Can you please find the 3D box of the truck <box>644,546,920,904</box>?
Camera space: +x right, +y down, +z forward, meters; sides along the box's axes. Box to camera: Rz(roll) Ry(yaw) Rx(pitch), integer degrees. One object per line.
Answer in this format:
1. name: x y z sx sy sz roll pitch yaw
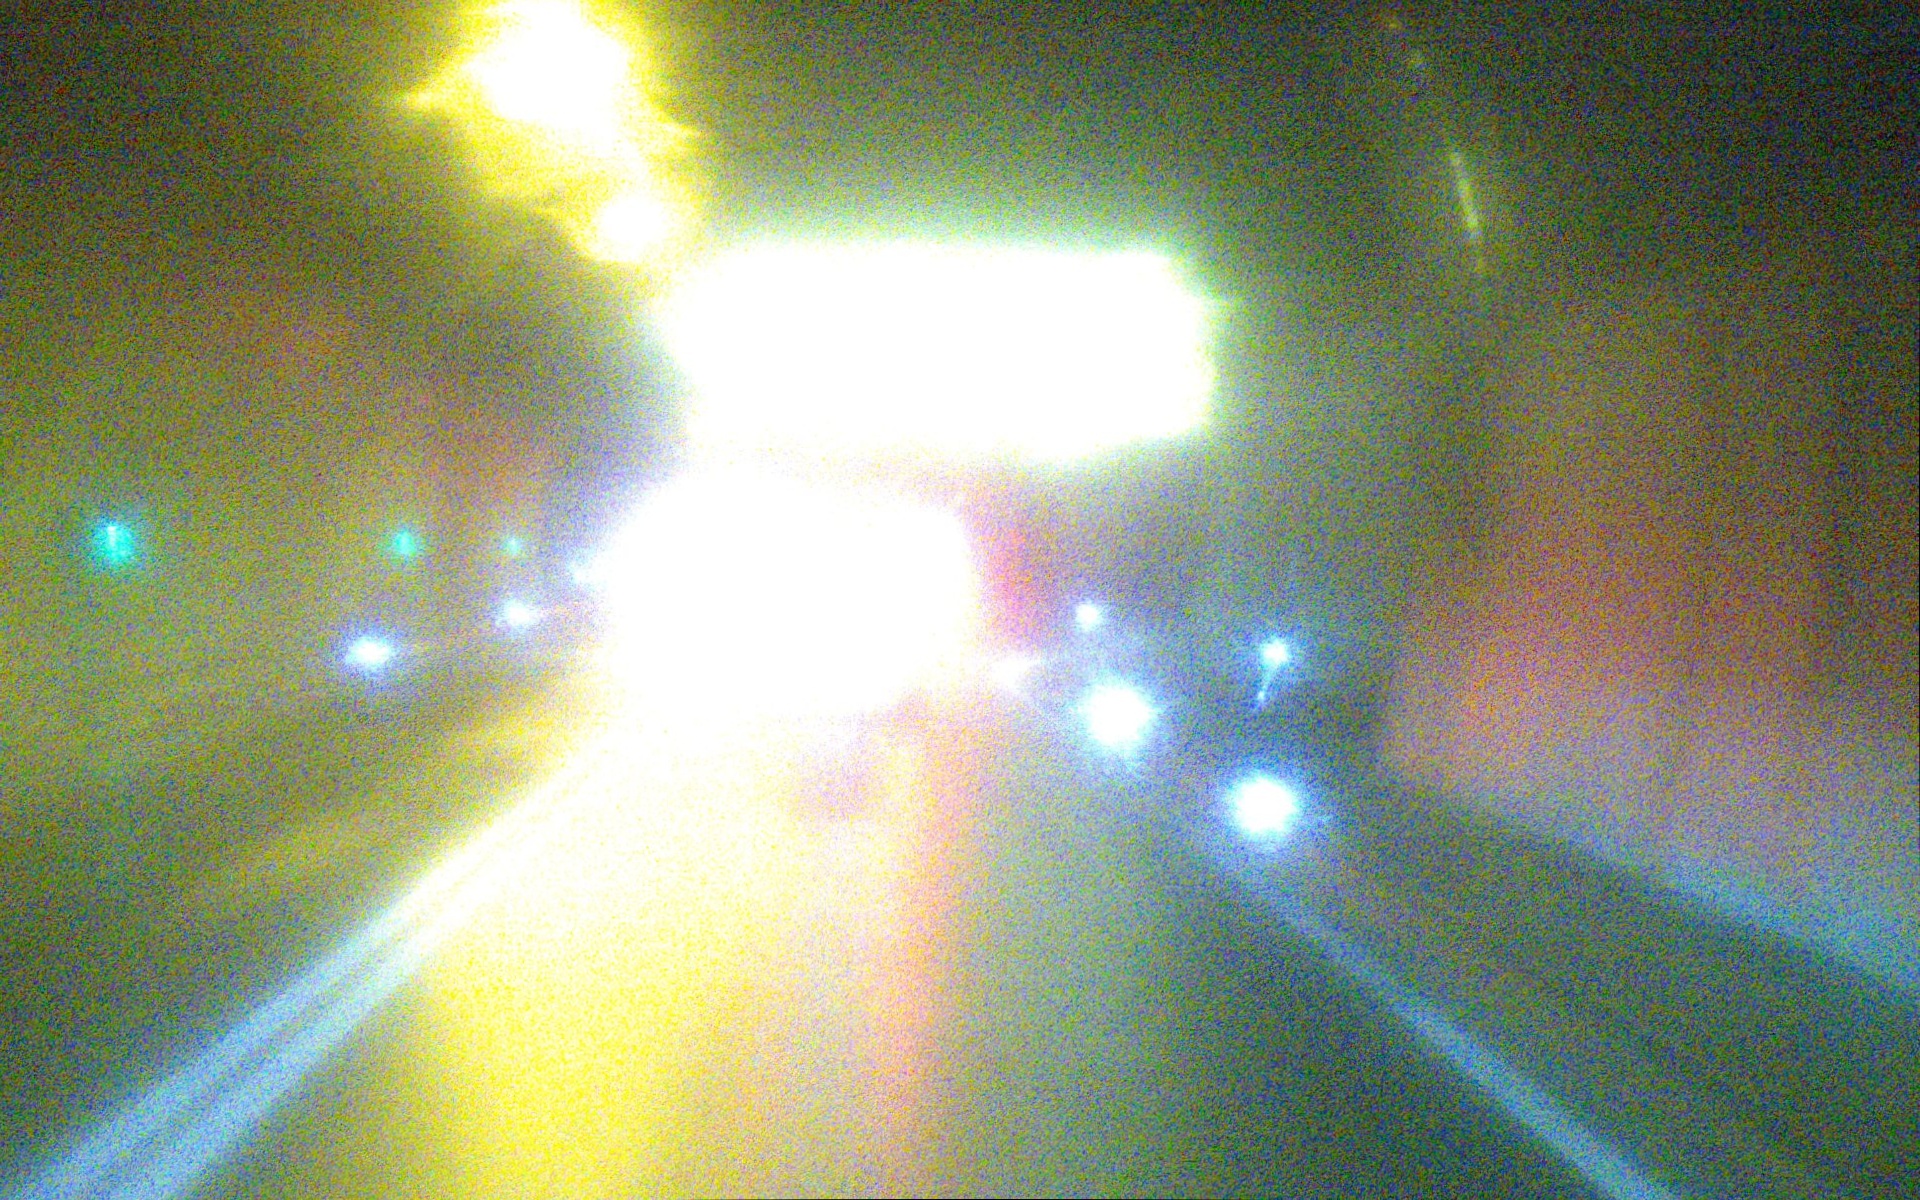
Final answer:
1. truck: -1.708 1.019 33.217 2.262 3.000 7.416 2 1 -3
